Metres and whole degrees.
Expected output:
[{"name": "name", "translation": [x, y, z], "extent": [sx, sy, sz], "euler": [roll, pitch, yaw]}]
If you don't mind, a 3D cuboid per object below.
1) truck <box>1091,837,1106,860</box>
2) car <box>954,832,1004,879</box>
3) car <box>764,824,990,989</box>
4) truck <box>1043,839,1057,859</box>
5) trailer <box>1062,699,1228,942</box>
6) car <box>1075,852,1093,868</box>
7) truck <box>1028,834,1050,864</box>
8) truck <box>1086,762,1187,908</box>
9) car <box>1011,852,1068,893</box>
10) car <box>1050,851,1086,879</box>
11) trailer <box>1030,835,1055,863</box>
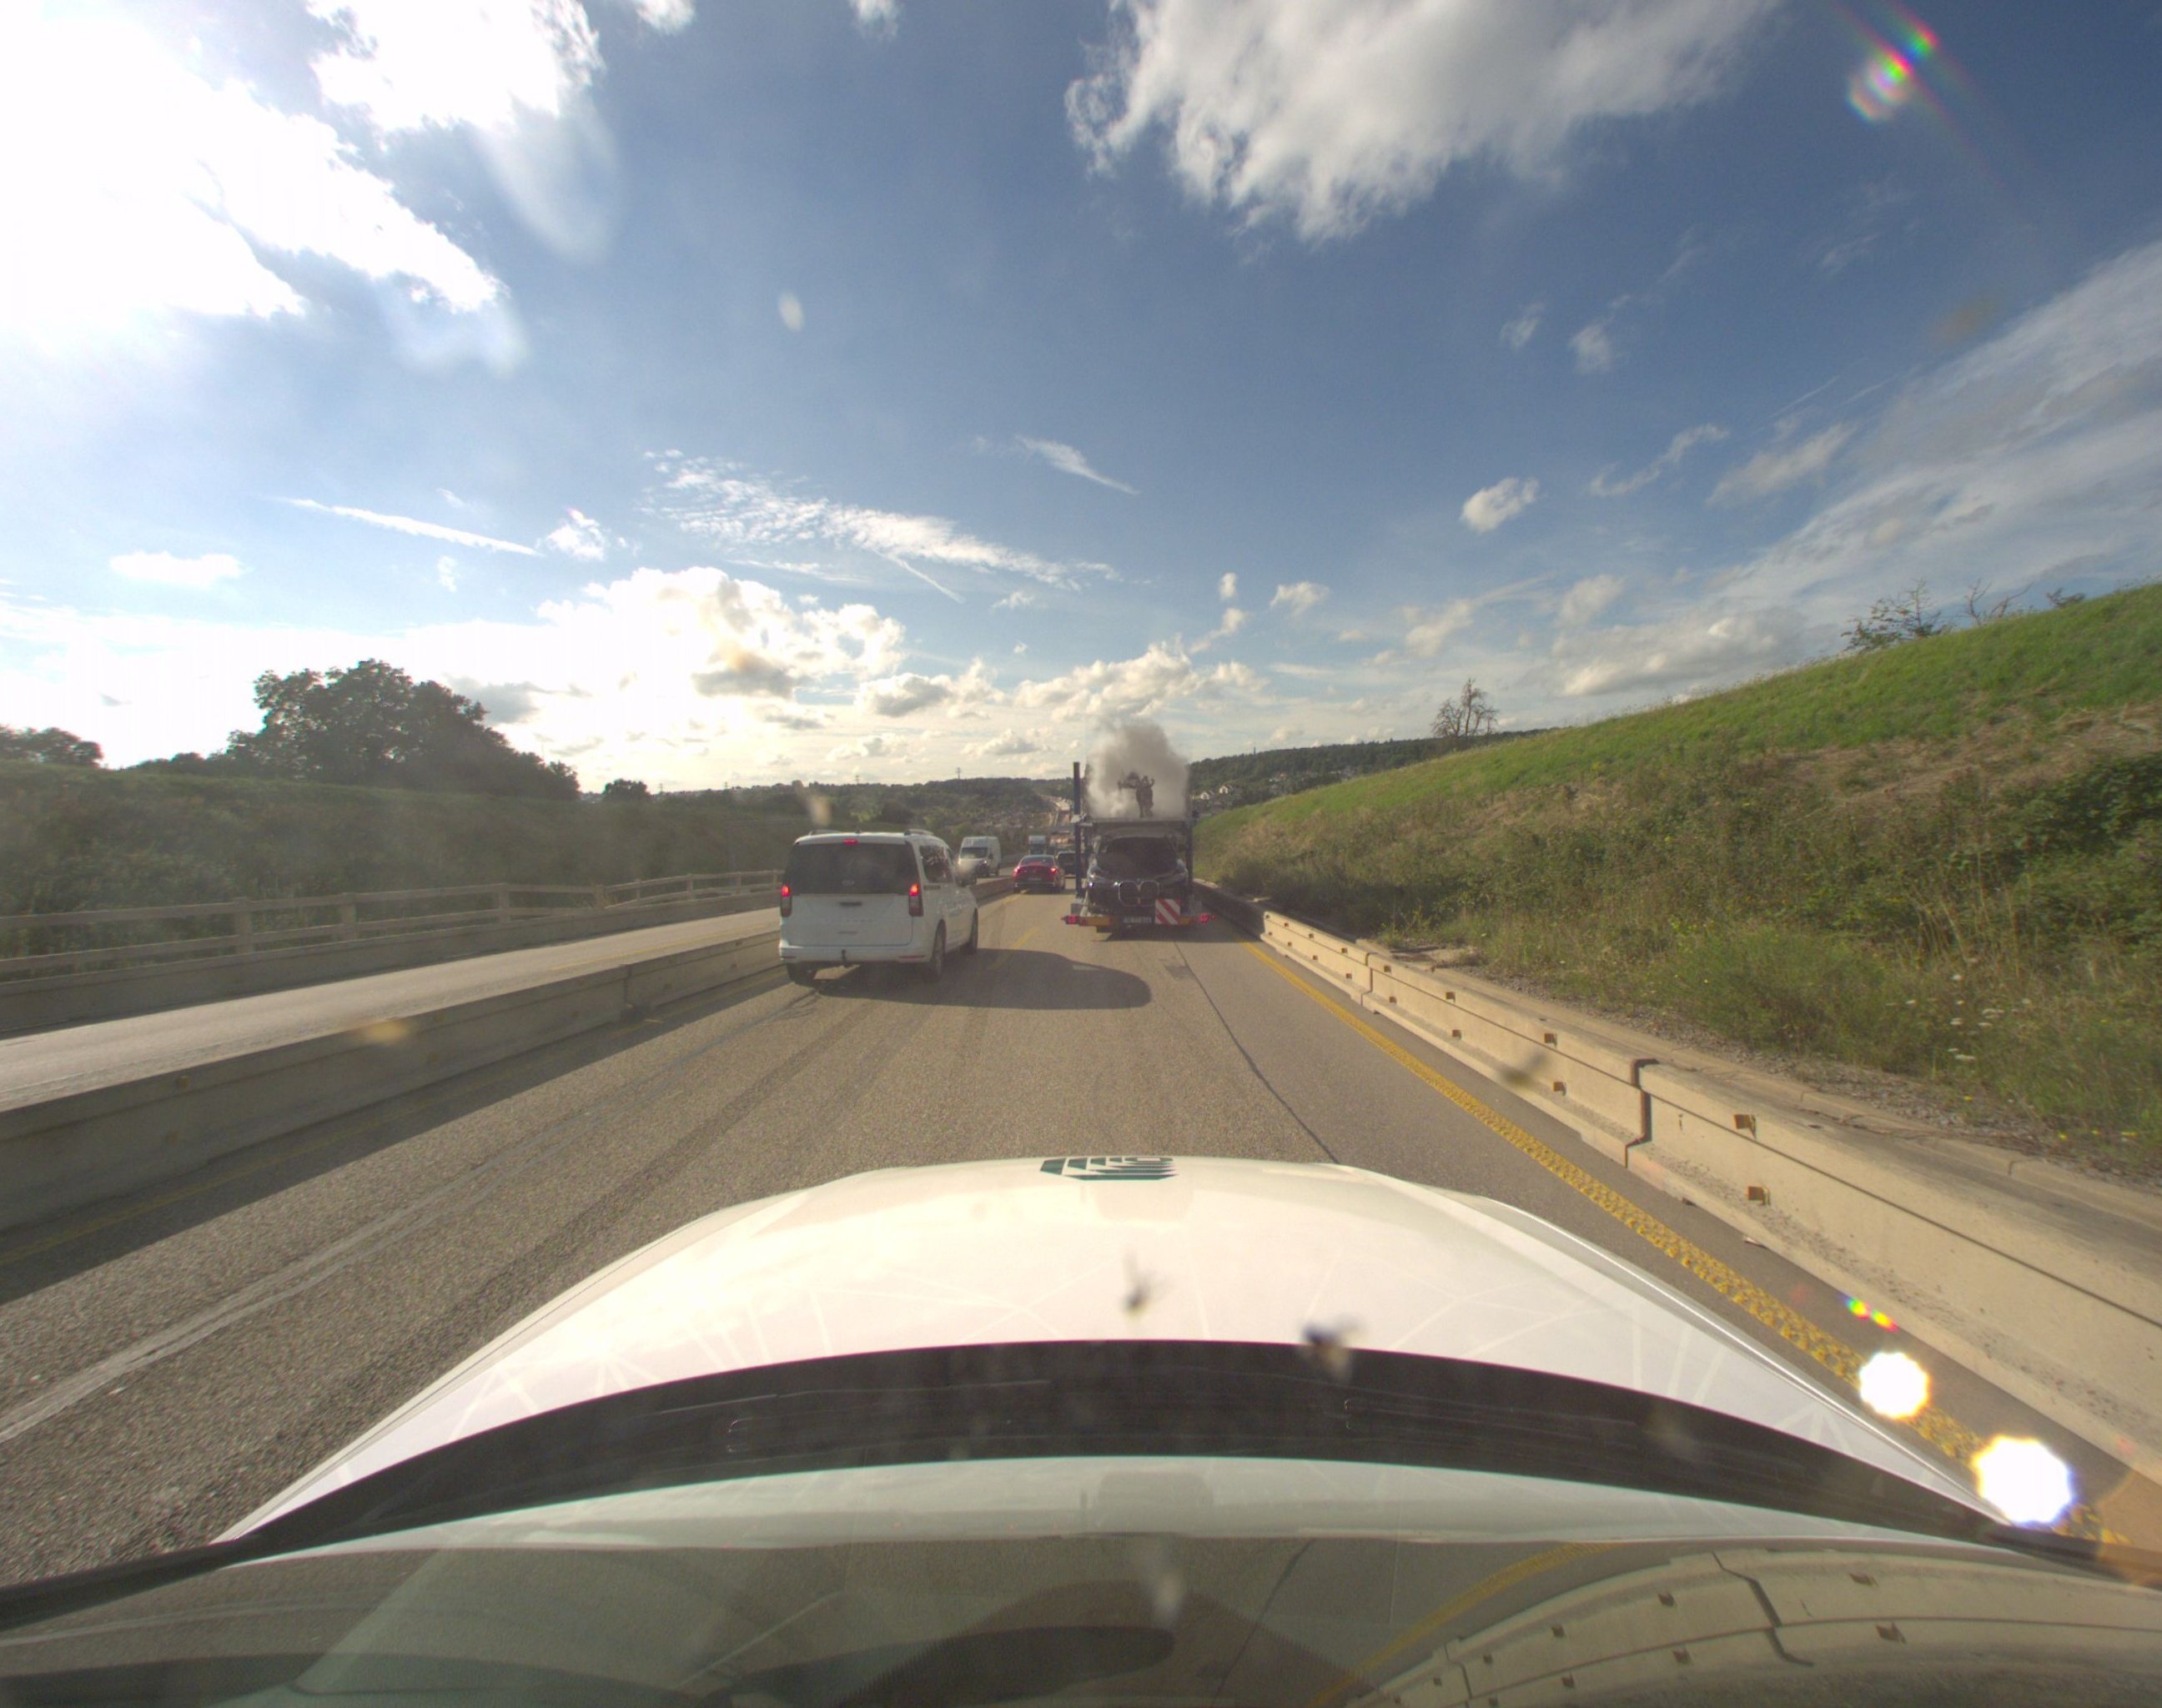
[{"name": "truck", "translation": [3.653, -1.160, 167.622], "extent": [2.854, 4.570, 11.659], "euler": [-1, 0, 1]}, {"name": "car", "translation": [-6.741, 0.112, 54.563], "extent": [2.101, 2.835, 6.143], "euler": [-4, 0, 3]}, {"name": "car", "translation": [-2.502, 0.560, 11.219], "extent": [1.816, 1.823, 4.459], "euler": [0, 1, 2]}, {"name": "truck", "translation": [-6.703, -1.089, 177.404], "extent": [2.630, 4.099, 10.818], "euler": [-1, 0, 0]}, {"name": "trailer", "translation": [1.311, -0.581, 19.457], "extent": [2.697, 4.029, 11.426], "euler": [-1, 0, 2]}, {"name": "car", "translation": [0.359, 0.557, 84.674], "extent": [1.789, 1.596, 4.744], "euler": [-1, 0, 2]}, {"name": "truck", "translation": [-6.055, -0.743, 117.732], "extent": [2.605, 4.153, 5.783], "euler": [-1, 0, 1]}, {"name": "truck", "translation": [1.593, -0.522, 25.281], "extent": [2.668, 3.922, 6.029], "euler": [-1, 0, 1]}, {"name": "car", "translation": [-1.584, 0.676, 32.537], "extent": [1.816, 1.492, 4.687], "euler": [0, 1, 2]}, {"name": "car", "translation": [-0.776, 0.646, 50.325], "extent": [1.986, 1.625, 4.752], "euler": [-1, 0, 2]}, {"name": "trailer", "translation": [-5.819, -0.707, 124.594], "extent": [2.605, 3.953, 13.880], "euler": [-1, 0, 2]}]
